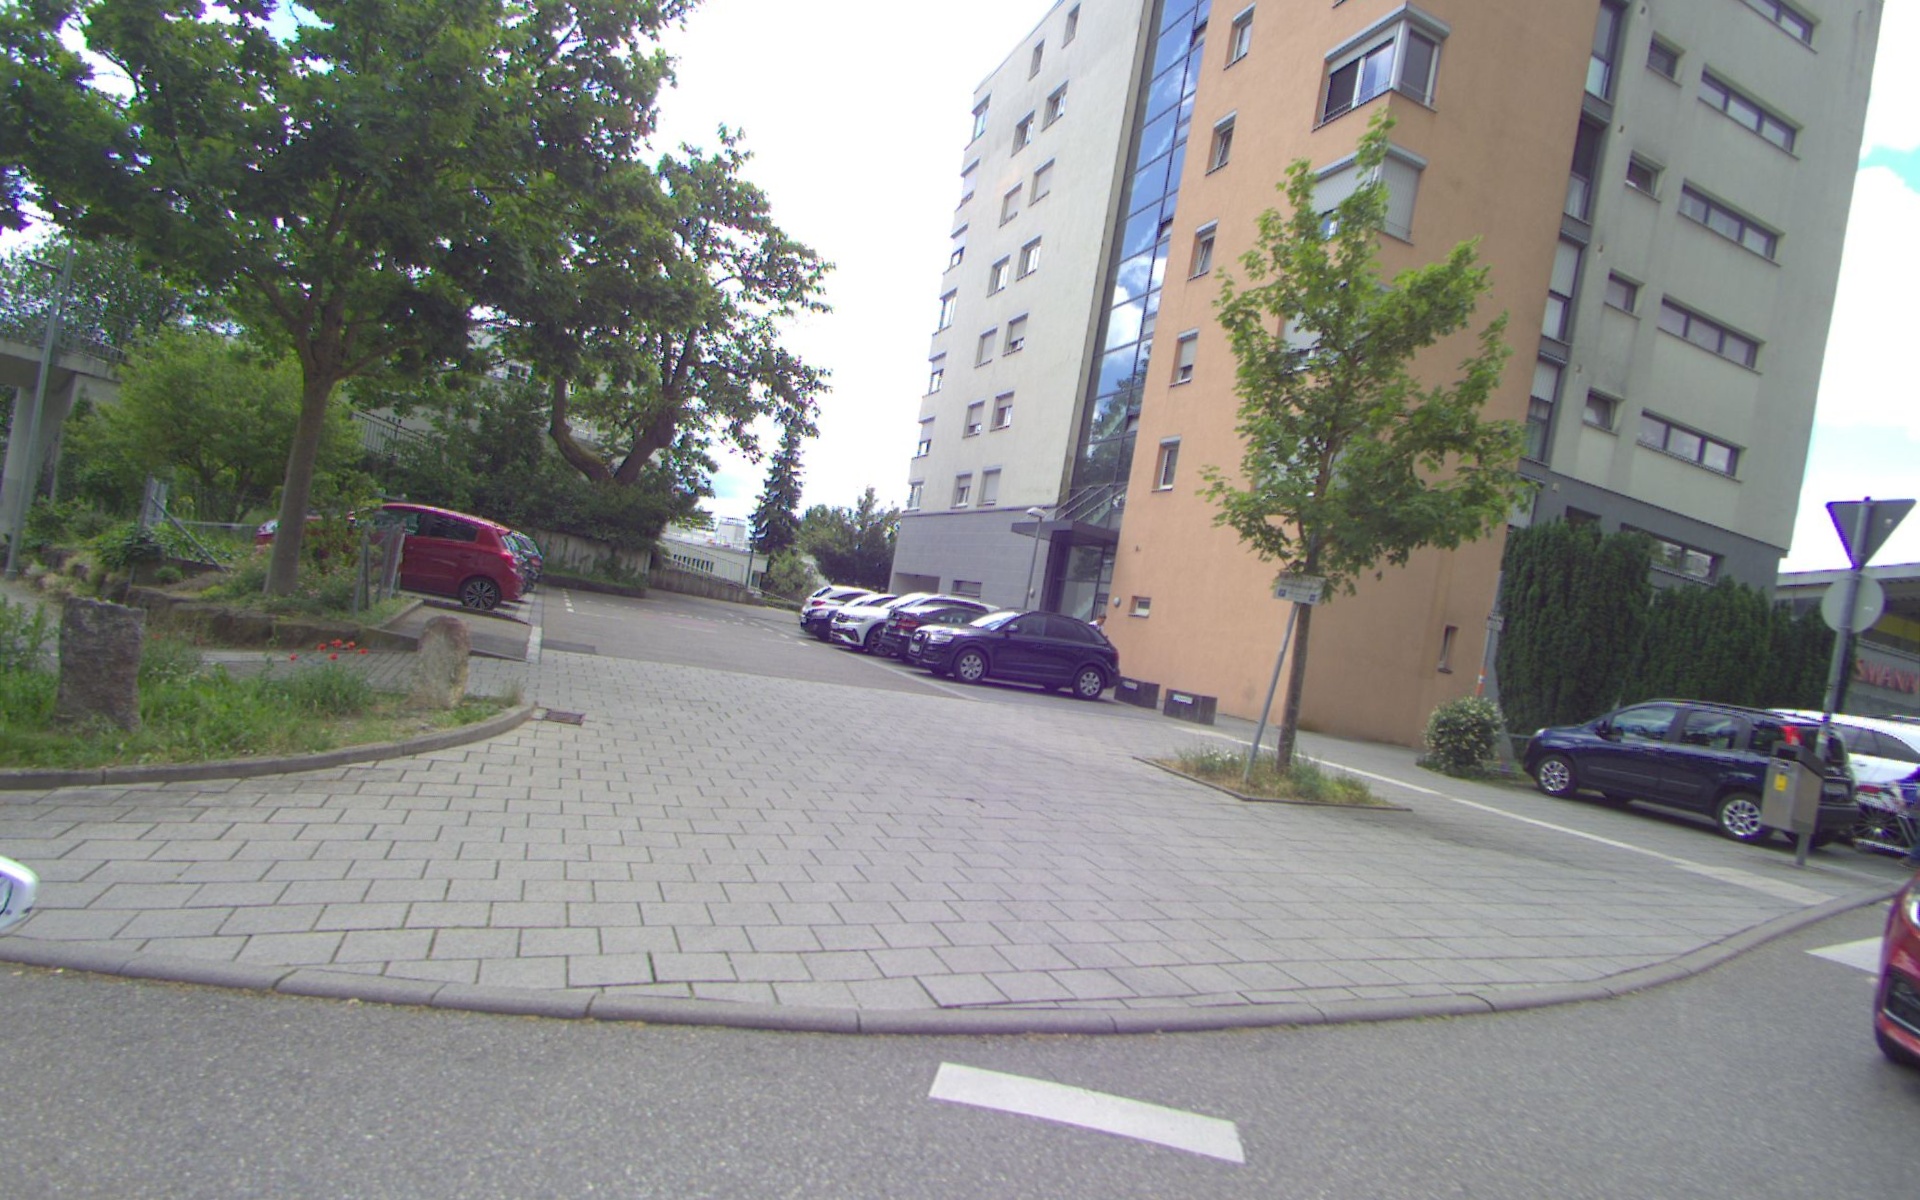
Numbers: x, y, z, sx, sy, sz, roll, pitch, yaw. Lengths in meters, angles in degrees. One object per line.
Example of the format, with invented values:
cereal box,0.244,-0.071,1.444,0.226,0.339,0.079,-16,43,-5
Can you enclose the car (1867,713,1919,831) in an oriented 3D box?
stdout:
car,20.038,3.570,18.849,1.808,2.185,3.955,10,-2,-24

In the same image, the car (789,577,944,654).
car,-2.681,0.450,28.822,3.941,1.534,1.749,10,-2,-20

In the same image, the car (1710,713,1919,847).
car,13.660,2.718,14.828,1.621,1.499,3.756,7,-1,-24

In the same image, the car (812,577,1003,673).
car,-1.237,0.611,24.109,4.089,1.611,1.681,10,-2,-28

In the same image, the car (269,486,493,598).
car,-11.515,-1.117,20.321,3.620,1.514,1.674,10,-2,-26

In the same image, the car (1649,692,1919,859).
car,11.943,2.376,13.789,1.553,1.679,3.756,7,-1,-24

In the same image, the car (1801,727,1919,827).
car,17.760,3.349,17.990,1.621,1.499,3.756,7,-1,-24

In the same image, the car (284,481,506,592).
car,-12.445,-1.343,22.407,3.958,1.631,1.931,10,-2,-28

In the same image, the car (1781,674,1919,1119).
car,5.937,1.457,4.615,4.491,1.665,1.962,7,1,-33

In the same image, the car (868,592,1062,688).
car,0.102,0.872,22.310,3.790,1.475,1.685,10,-2,-21

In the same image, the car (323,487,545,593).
car,-12.856,-1.424,24.828,4.511,1.686,1.931,10,-2,-28

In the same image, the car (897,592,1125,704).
car,1.004,0.938,19.983,4.002,1.534,1.748,10,-2,-21

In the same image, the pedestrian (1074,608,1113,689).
pedestrian,3.210,1.162,24.204,0.475,1.874,0.502,9,-1,-34

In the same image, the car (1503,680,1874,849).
car,9.187,2.020,13.015,1.485,1.494,3.506,7,-1,-24

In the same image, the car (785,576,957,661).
car,-2.333,0.488,26.306,4.002,1.534,1.748,10,-2,-21

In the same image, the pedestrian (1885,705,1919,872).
pedestrian,11.026,2.163,11.359,0.575,1.833,0.482,9,-1,-22

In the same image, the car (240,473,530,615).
car,-8.844,-0.810,15.808,3.620,1.455,1.674,10,-2,-26

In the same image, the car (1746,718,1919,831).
car,16.060,3.069,17.156,1.621,1.499,3.756,7,-1,-24
